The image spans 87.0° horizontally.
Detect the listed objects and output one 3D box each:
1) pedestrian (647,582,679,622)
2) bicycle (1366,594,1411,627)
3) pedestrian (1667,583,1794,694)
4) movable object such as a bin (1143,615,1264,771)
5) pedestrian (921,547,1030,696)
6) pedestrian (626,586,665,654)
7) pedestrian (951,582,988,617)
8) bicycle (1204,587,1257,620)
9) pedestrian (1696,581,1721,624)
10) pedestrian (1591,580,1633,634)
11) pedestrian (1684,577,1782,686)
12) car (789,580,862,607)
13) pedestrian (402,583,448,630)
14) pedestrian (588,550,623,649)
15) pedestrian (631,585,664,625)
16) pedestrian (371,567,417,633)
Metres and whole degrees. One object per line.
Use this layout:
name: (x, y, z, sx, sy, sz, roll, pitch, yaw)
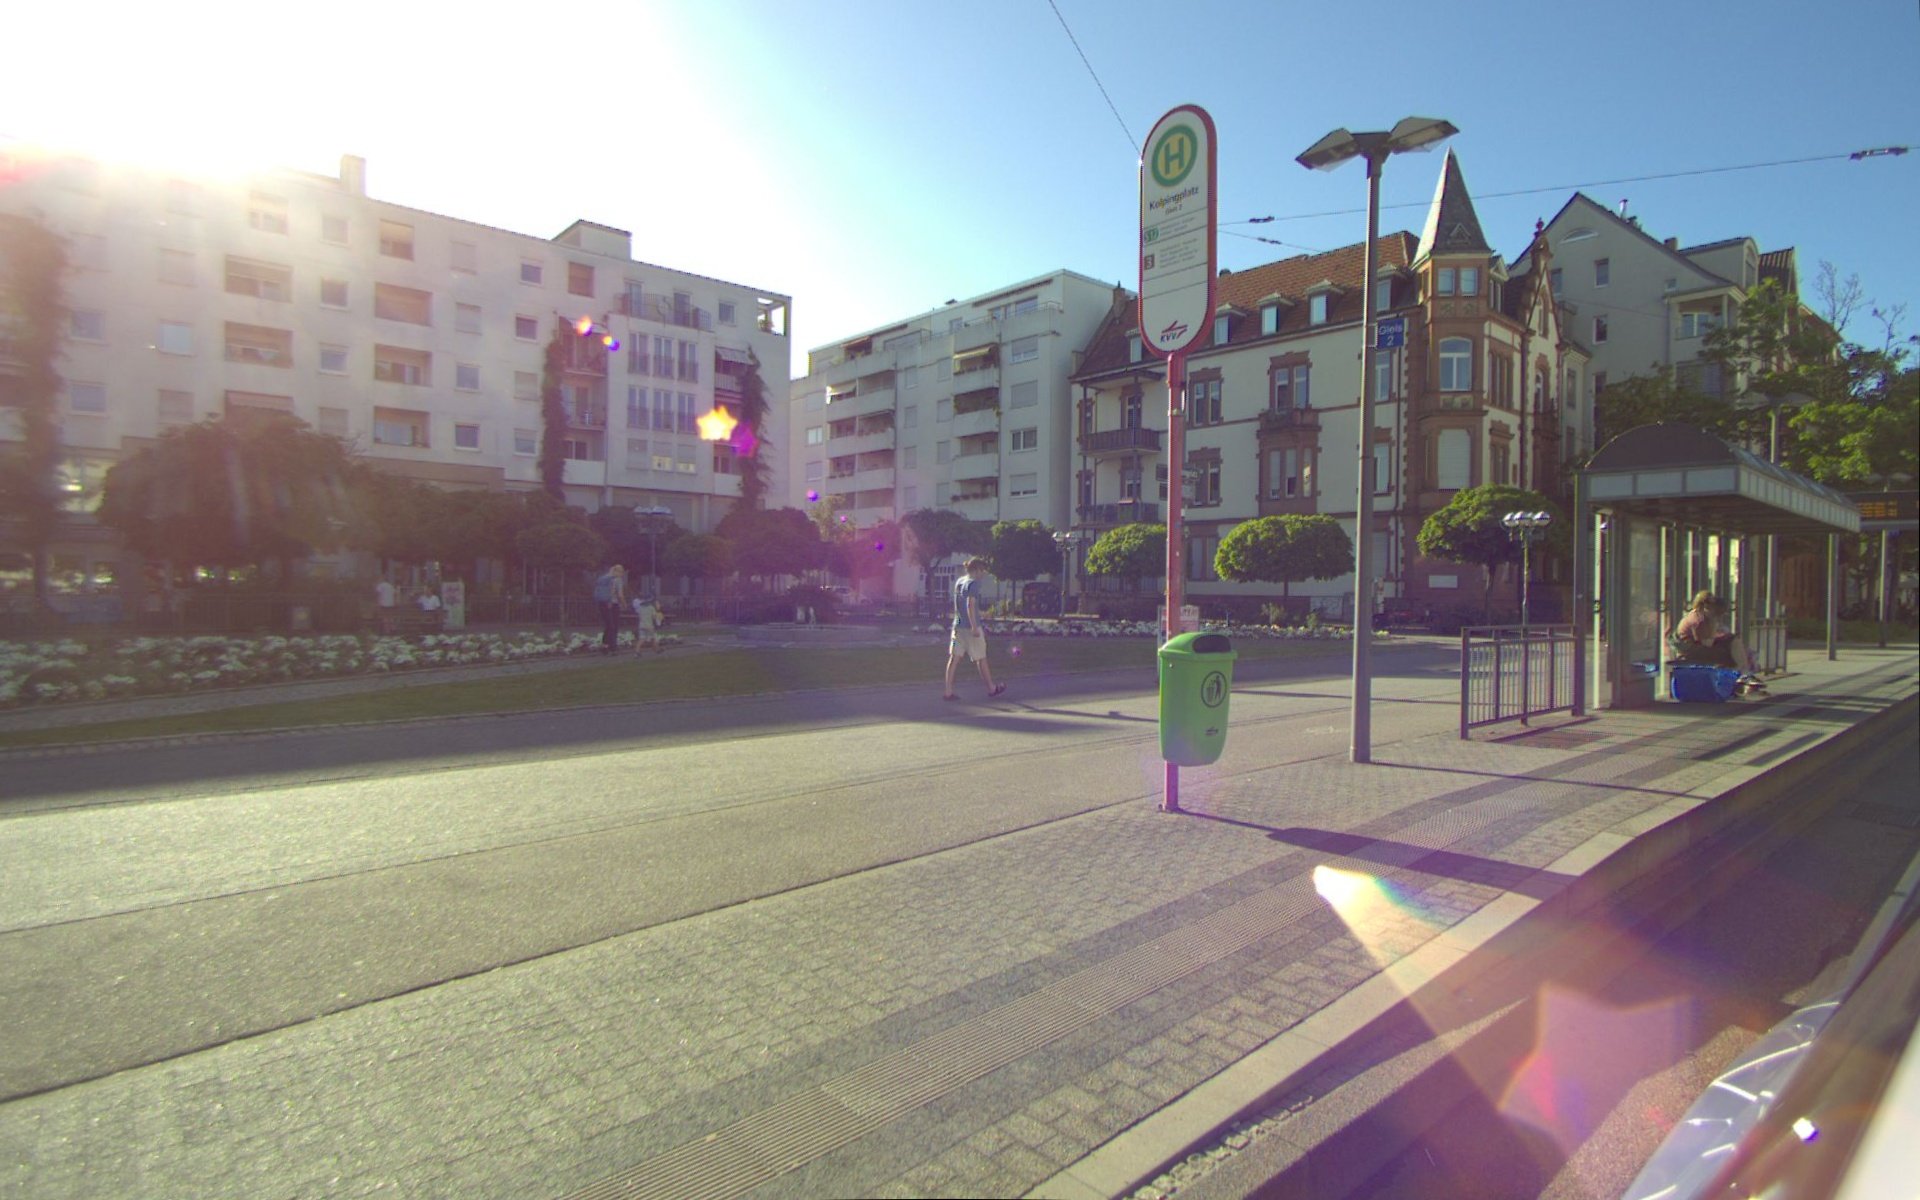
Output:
pedestrian: (-9.949, 0.059, 33.949, 0.737, 1.287, 0.725, 1, 1, 29)
bicycle: (15.885, 0.380, 37.443, 0.786, 1.081, 2.768, 1, 3, 40)
pedestrian: (9.184, 0.444, 12.077, 0.907, 1.241, 1.000, -1, -2, -41)
movable object such as a bin: (1.355, 0.494, 5.630, 0.480, 0.796, 0.450, 0, 1, -38)
pedestrian: (0.217, 0.252, 13.682, 1.110, 1.901, 0.982, -1, 1, -43)
pedestrian: (-5.666, 0.353, 18.230, 0.547, 1.183, 0.471, -1, 0, -32)
pedestrian: (0.395, -0.030, 42.793, 0.917, 1.429, 1.529, 0, 1, -30)
bicycle: (11.845, 0.140, 44.268, 2.864, 1.389, 0.745, 0, 1, -41)
pedestrian: (31.012, 0.108, 41.919, 0.740, 1.757, 0.864, 1, 1, 43)
pedestrian: (20.936, 0.206, 32.484, 1.064, 1.689, 0.944, 1, 1, 37)
pedestrian: (10.063, 0.403, 13.176, 0.612, 1.351, 0.860, 0, -2, -40)
car: (-8.065, -0.408, 60.781, 3.923, 1.536, 2.001, 0, 1, -34)
pedestrian: (-15.343, 0.176, 29.034, 1.032, 1.287, 0.725, 1, 1, 29)
pedestrian: (-6.478, -0.011, 18.488, 0.516, 1.767, 0.560, 0, 0, -30)
pedestrian: (-10.292, 0.150, 33.311, 0.737, 1.287, 0.725, 1, 1, 29)
pedestrian: (-15.497, -0.012, 27.704, 1.018, 1.746, 0.668, 1, 0, 29)
